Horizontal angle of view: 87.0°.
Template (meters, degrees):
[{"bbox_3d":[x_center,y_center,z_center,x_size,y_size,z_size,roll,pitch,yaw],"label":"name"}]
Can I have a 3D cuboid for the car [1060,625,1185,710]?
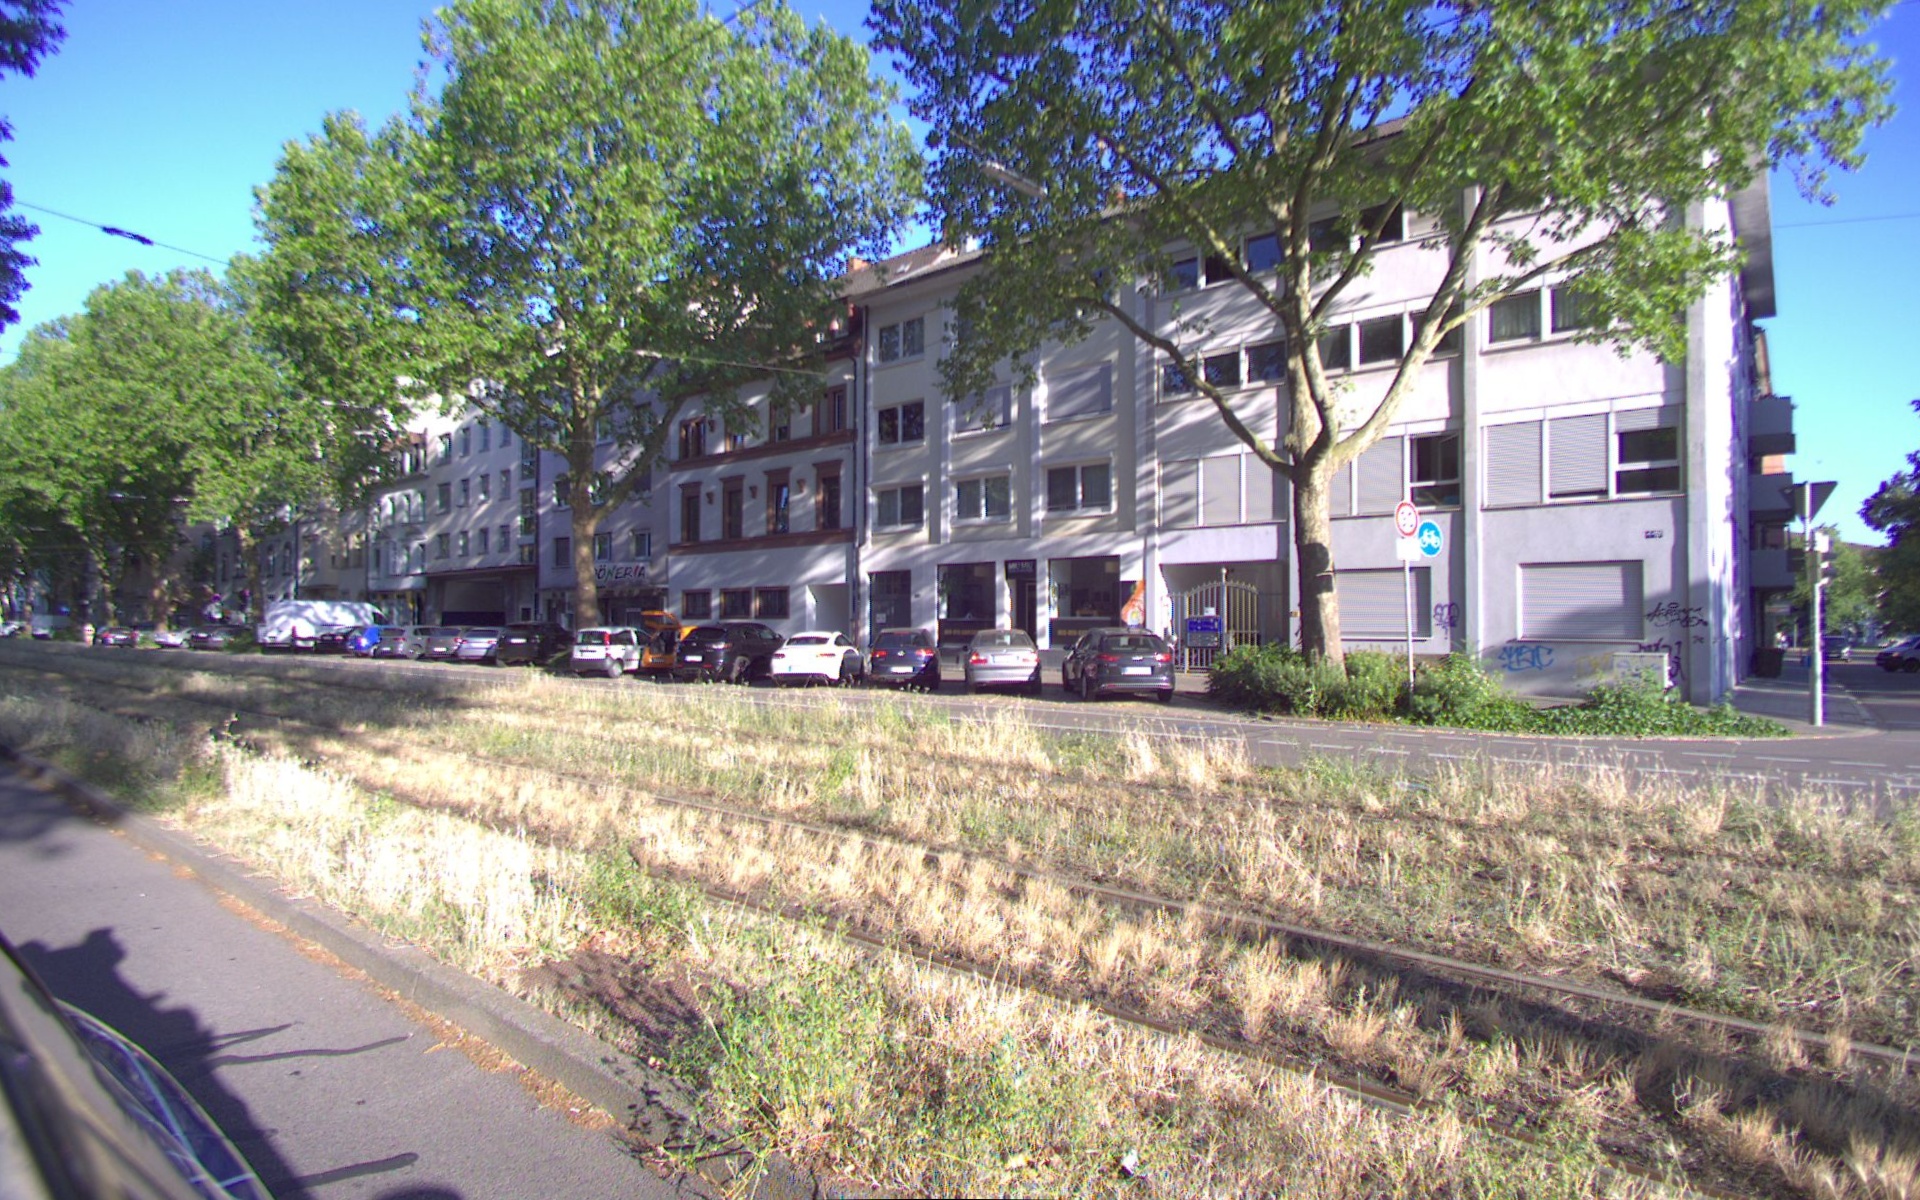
[{"bbox_3d":[3.299,1.332,21.285,1.791,1.490,4.002,-1,0,-2],"label":"car"}]

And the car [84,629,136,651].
[{"bbox_3d":[-56.623,2.675,67.381,4.480,1.400,1.802,-1,-4,40],"label":"car"}]

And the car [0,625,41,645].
[{"bbox_3d":[-107.374,3.958,115.156,1.971,2.029,4.002,-1,0,-2],"label":"car"}]

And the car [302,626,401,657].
[{"bbox_3d":[-30.740,2.117,51.255,1.984,1.502,3.975,-1,-2,18],"label":"car"}]

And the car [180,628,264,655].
[{"bbox_3d":[-45.525,2.594,62.546,1.912,1.605,4.155,0,-4,4],"label":"car"}]

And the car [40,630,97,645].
[{"bbox_3d":[-86.011,3.605,97.690,1.709,1.256,3.993,-1,1,6],"label":"car"}]

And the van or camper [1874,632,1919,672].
[{"bbox_3d":[49.706,2.610,50.920,5.084,2.029,1.991,0,-2,14],"label":"van or camper"}]

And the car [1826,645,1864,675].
[{"bbox_3d":[63.366,4.277,72.461,1.999,2.029,3.945,-1,-2,41],"label":"car"}]

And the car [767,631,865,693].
[{"bbox_3d":[-3.690,1.569,26.685,1.700,1.343,4.200,-1,0,4],"label":"car"}]

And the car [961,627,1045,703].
[{"bbox_3d":[0.904,1.418,23.275,1.698,1.452,4.000,-1,0,-1],"label":"car"}]

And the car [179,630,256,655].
[{"bbox_3d":[-47.724,2.770,65.175,1.803,1.545,3.994,0,-3,4],"label":"car"}]

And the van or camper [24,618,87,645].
[{"bbox_3d":[-88.316,3.069,98.893,2.171,2.418,4.364,-1,1,0],"label":"van or camper"}]

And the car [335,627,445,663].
[{"bbox_3d":[-25.973,2.032,46.200,1.854,1.431,3.951,-1,0,36],"label":"car"}]

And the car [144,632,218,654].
[{"bbox_3d":[-51.781,2.813,67.341,1.806,1.400,3.670,0,-2,9],"label":"car"}]

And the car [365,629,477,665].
[{"bbox_3d":[-23.597,2.027,44.433,1.941,1.503,3.964,-1,-2,27],"label":"car"}]

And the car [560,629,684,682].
[{"bbox_3d":[-10.458,1.682,31.693,1.643,1.460,4.345,0,-1,14],"label":"car"}]

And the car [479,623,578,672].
[{"bbox_3d":[-15.677,1.688,37.015,1.972,1.673,4.000,-1,-1,-1],"label":"car"}]

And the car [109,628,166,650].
[{"bbox_3d":[-63.504,3.018,78.206,1.703,1.666,4.008,0,-2,-10],"label":"car"}]

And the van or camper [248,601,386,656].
[{"bbox_3d":[-33.106,1.492,52.369,2.162,2.666,5.929,-1,-2,19],"label":"van or camper"}]

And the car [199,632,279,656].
[{"bbox_3d":[-42.997,2.623,60.445,1.778,1.368,4.002,0,-3,3],"label":"car"}]

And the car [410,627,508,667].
[{"bbox_3d":[-20.533,1.893,41.667,1.735,1.433,3.993,-1,0,6],"label":"car"}]

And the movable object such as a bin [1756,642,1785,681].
[{"bbox_3d":[27.830,2.104,34.738,0.745,1.315,0.861,-1,-2,39],"label":"movable object such as a bin"}]

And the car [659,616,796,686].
[{"bbox_3d":[-6.455,1.456,28.603,1.975,1.800,4.343,1,-3,14],"label":"car"}]

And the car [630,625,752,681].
[{"bbox_3d":[-8.357,1.615,31.792,1.764,1.490,3.974,-1,0,20],"label":"car"}]

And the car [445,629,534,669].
[{"bbox_3d":[-18.292,1.875,39.547,1.883,1.396,4.004,-1,-1,-5],"label":"car"}]

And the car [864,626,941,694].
[{"bbox_3d":[-1.436,1.455,25.680,1.776,1.452,4.002,-1,0,-3],"label":"car"}]
